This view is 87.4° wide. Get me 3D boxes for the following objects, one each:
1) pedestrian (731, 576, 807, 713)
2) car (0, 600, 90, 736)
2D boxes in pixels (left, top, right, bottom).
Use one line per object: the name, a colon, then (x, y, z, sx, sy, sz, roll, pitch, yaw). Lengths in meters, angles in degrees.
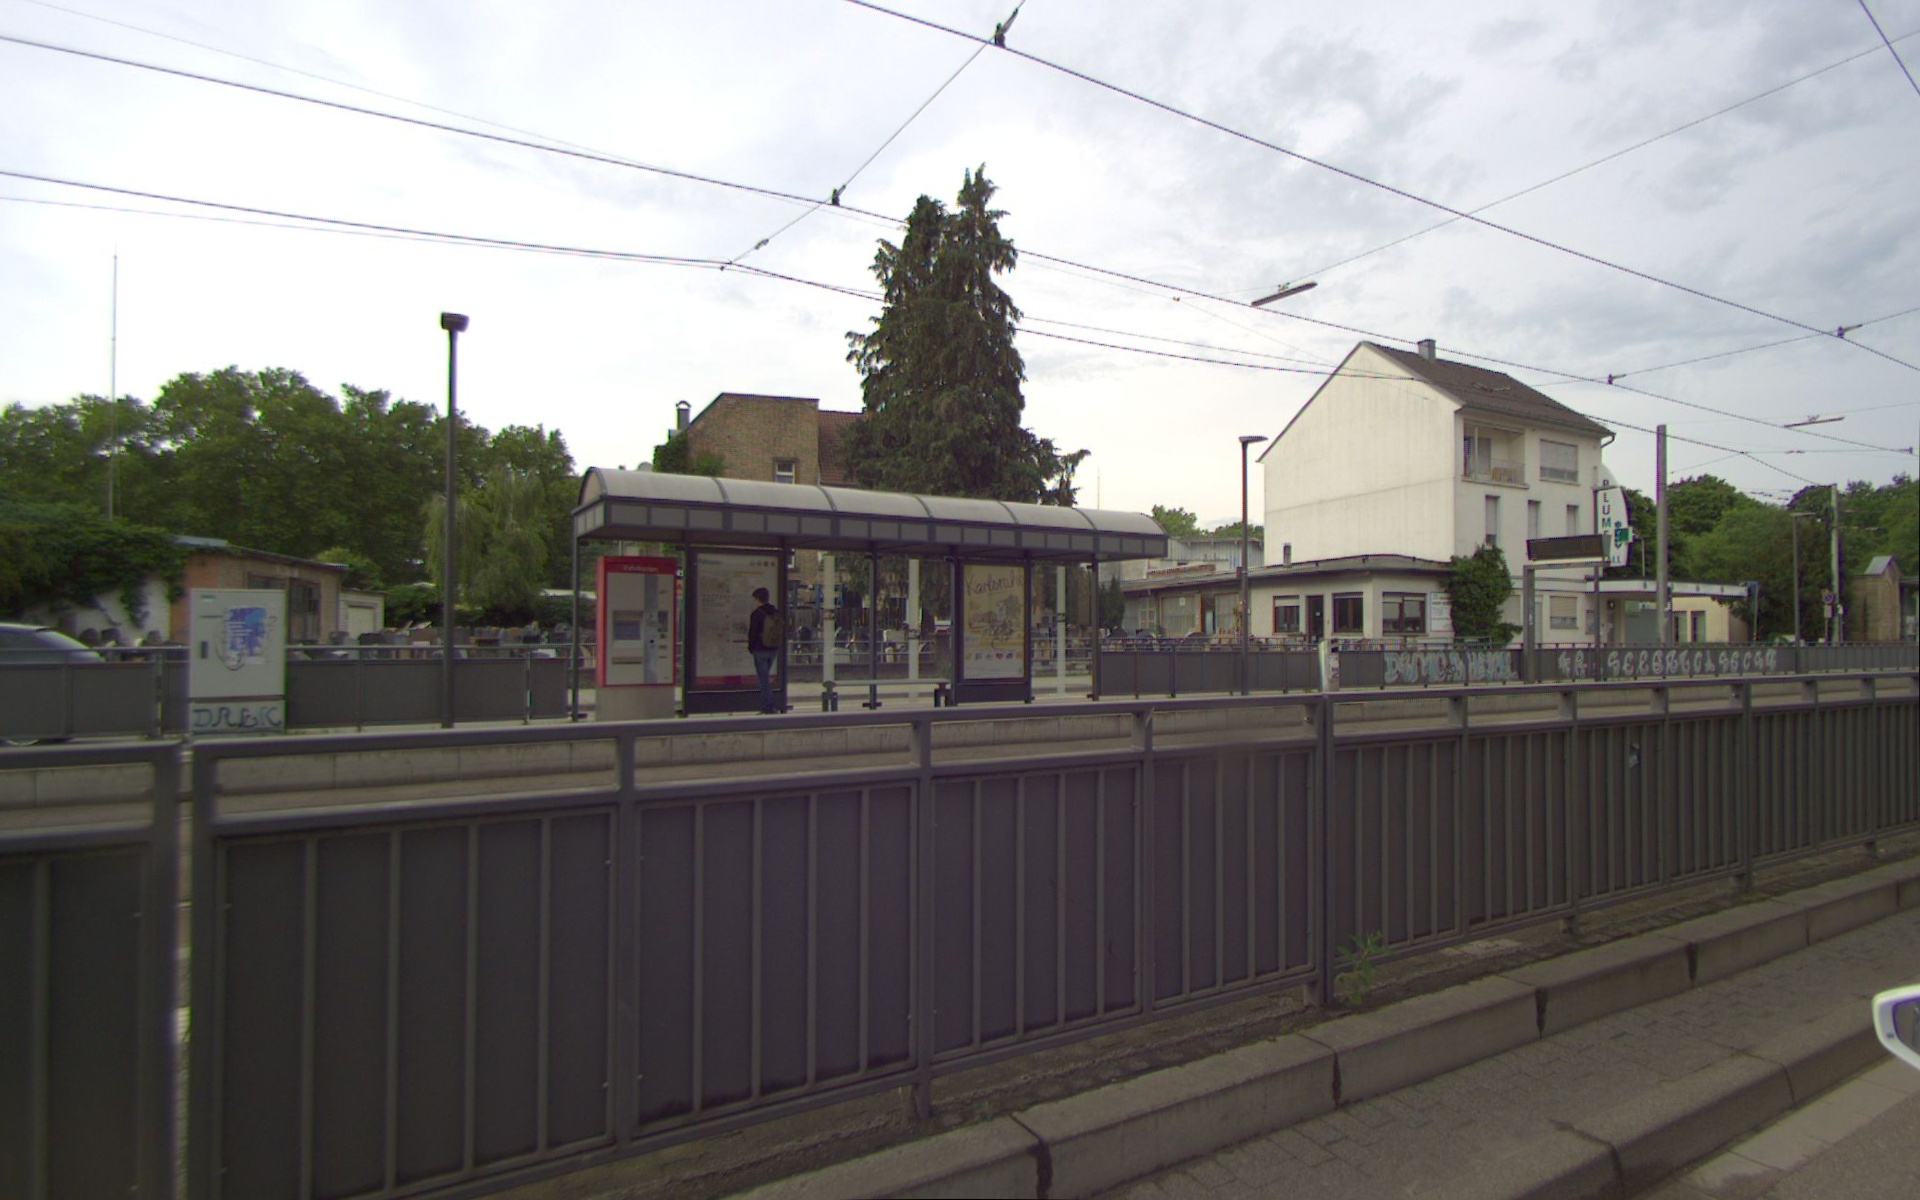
pedestrian: (-2.429, 0.549, 12.806, 0.684, 1.686, 0.616, 1, -1, 27)
car: (-12.053, 0.731, 10.741, 3.962, 1.470, 1.751, 2, -3, -36)
